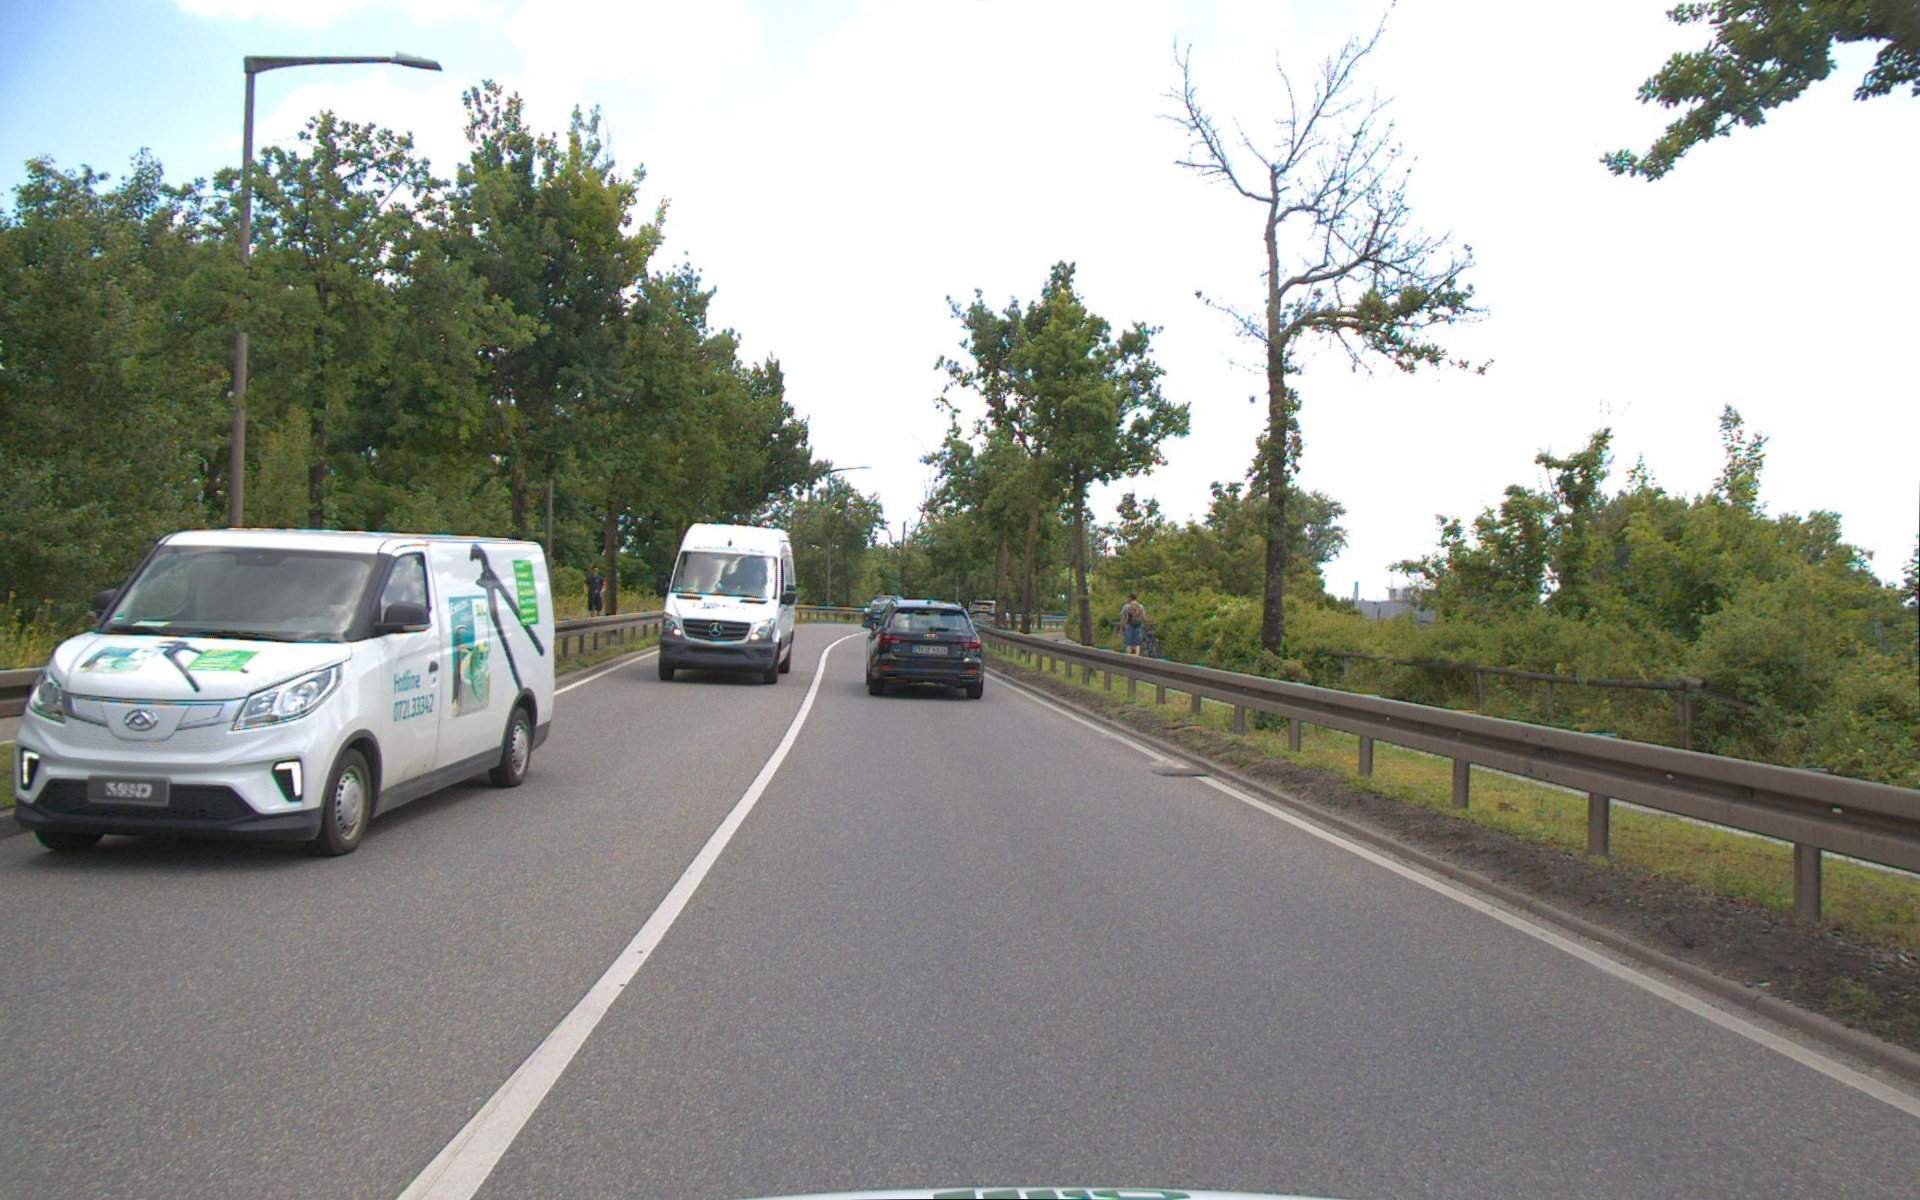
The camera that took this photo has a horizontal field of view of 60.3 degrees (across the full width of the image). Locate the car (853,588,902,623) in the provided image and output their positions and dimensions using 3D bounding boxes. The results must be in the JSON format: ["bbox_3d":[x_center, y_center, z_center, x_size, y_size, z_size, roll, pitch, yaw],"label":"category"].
[{"bbox_3d":[-4.152,0.294,83.765,1.743,1.635,4.161,3,0,7],"label":"car"}]

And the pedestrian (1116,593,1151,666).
[{"bbox_3d":[4.005,0.679,38.243,0.644,1.671,1.054,0,0,-3],"label":"pedestrian"}]

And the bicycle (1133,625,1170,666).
[{"bbox_3d":[4.401,1.031,38.085,0.545,0.884,1.824,0,0,-3],"label":"bicycle"}]

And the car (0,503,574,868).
[{"bbox_3d":[-4.181,0.440,11.307,1.739,1.899,5.267,0,0,1],"label":"car"}]

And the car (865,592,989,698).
[{"bbox_3d":[-0.532,0.654,26.305,1.791,1.518,4.205,1,0,-1],"label":"car"}]

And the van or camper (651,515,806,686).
[{"bbox_3d":[-3.914,-0.005,28.963,1.953,2.627,5.979,2,0,-2],"label":"van or camper"}]

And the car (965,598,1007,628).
[{"bbox_3d":[1.436,0.691,90.697,1.545,1.546,4.003,1,0,12],"label":"car"}]
